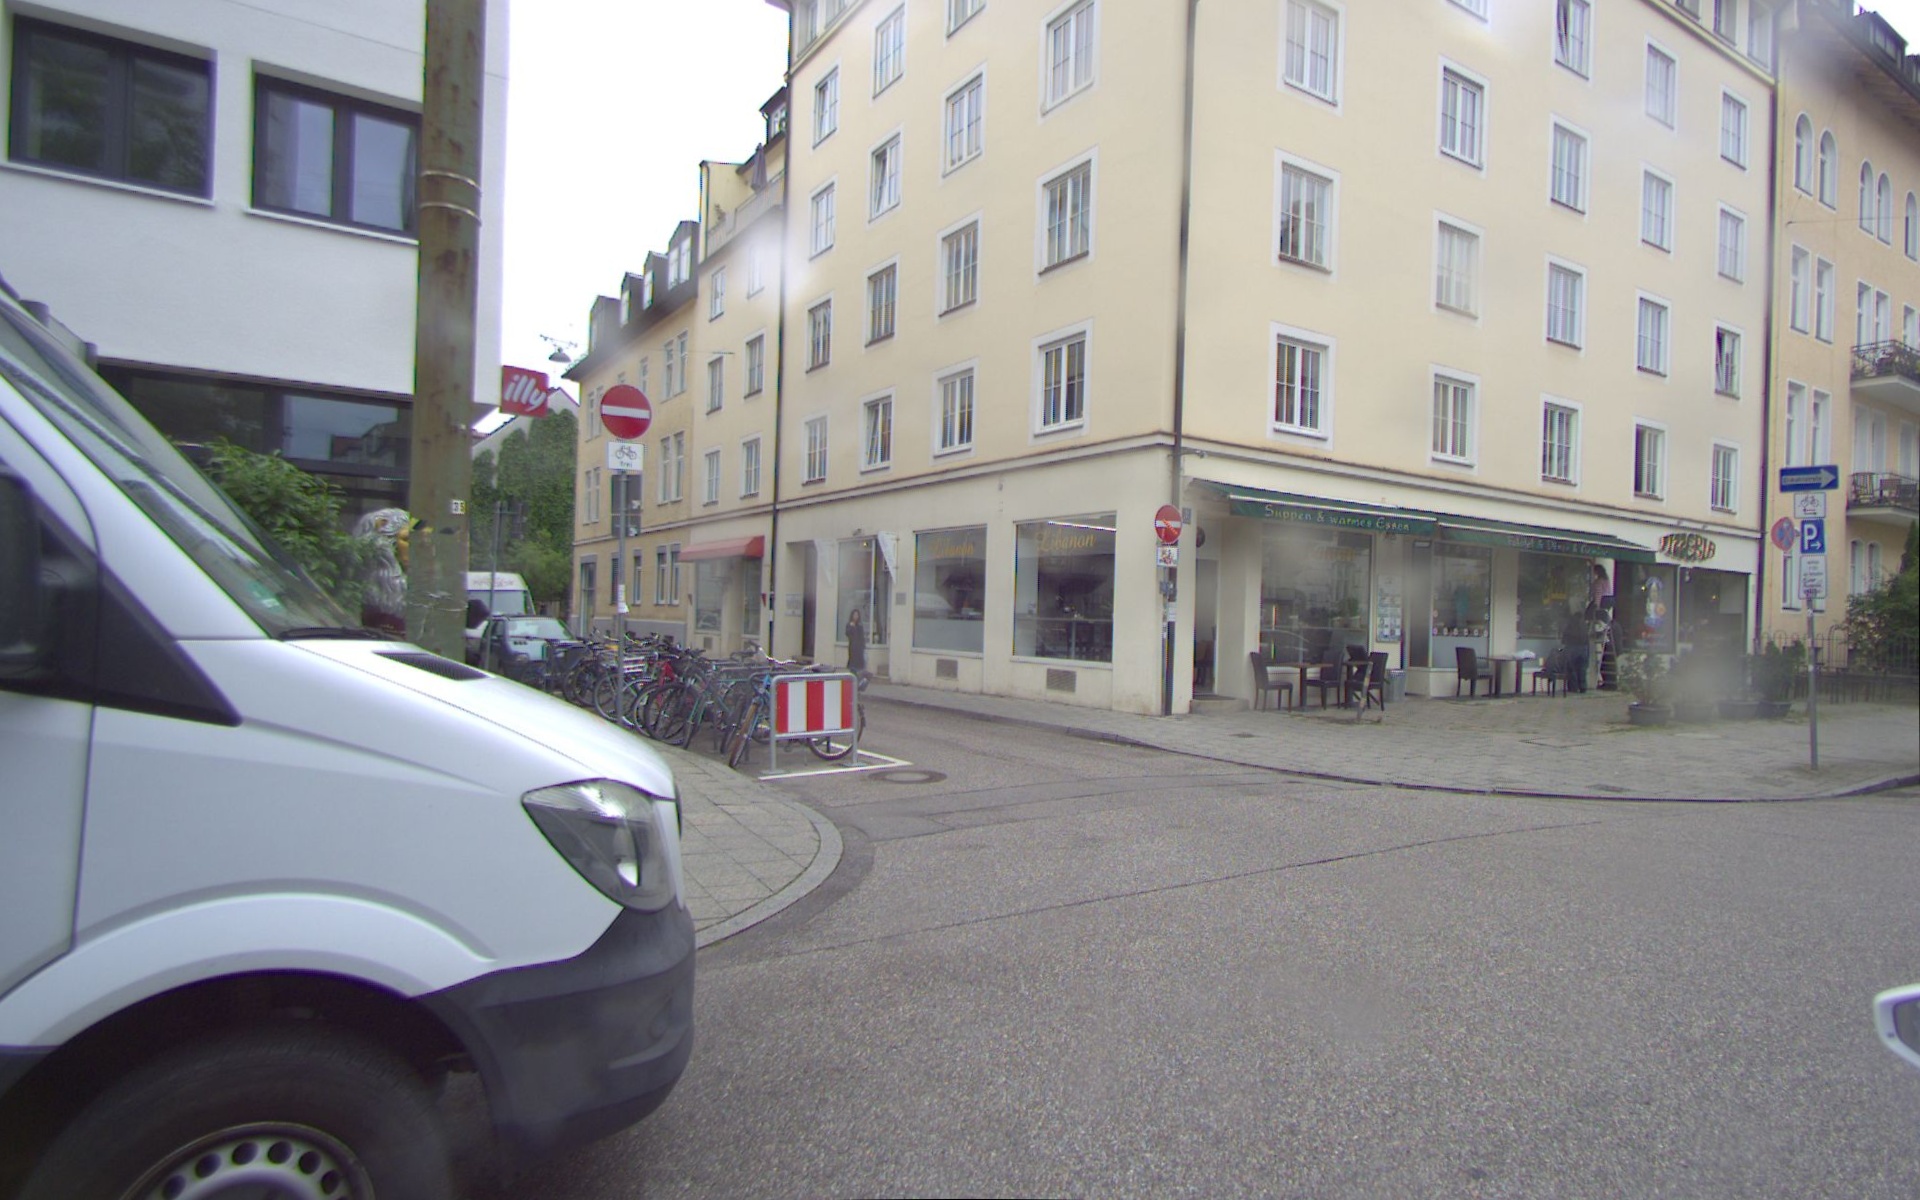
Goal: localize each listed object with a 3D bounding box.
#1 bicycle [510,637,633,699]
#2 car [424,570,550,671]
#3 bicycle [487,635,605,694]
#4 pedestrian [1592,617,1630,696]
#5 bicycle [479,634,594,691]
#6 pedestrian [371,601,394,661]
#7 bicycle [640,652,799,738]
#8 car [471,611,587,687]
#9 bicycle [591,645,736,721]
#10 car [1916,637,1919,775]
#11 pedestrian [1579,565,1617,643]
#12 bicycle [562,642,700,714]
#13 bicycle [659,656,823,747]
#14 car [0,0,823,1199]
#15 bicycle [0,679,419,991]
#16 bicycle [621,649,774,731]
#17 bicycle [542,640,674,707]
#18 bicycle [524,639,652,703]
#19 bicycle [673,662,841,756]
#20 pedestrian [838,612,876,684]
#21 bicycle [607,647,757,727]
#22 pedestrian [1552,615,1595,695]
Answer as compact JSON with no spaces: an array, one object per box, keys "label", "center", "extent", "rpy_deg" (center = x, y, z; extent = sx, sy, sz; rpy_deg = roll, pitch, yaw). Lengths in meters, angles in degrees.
[{"label":"bicycle","center":[-6.521,1.138,16.914],"extent":[1.877,0.981,0.394],"rpy_deg":[3,-1,-37]},{"label":"car","center":[-12.961,0.495,27.252],"extent":[1.946,2.419,6.419],"rpy_deg":[2,-1,-35]},{"label":"bicycle","center":[-7.350,1.139,17.871],"extent":[1.877,0.981,0.394],"rpy_deg":[3,-1,-37]},{"label":"pedestrian","center":[14.387,1.236,22.191],"extent":[0.568,1.712,0.459],"rpy_deg":[2,-1,-31]},{"label":"bicycle","center":[-7.739,1.138,18.409],"extent":[1.877,0.981,0.394],"rpy_deg":[3,-1,-37]},{"label":"pedestrian","center":[-17.118,0.905,29.775],"extent":[0.517,1.762,0.488],"rpy_deg":[2,-1,-35]},{"label":"bicycle","center":[-2.937,1.148,12.384],"extent":[1.877,0.981,0.394],"rpy_deg":[3,-1,-37]},{"label":"car","center":[-8.961,0.959,20.738],"extent":[1.475,1.426,3.655],"rpy_deg":[2,-2,-35]},{"label":"bicycle","center":[-4.049,1.128,13.831],"extent":[1.877,0.981,0.394],"rpy_deg":[3,-1,-37]},{"label":"car","center":[13.606,1.283,12.197],"extent":[4.696,1.607,1.841],"rpy_deg":[1,0,-33]},{"label":"pedestrian","center":[13.803,0.084,21.746],"extent":[0.491,1.664,0.476],"rpy_deg":[2,-1,-26]},{"label":"bicycle","center":[-4.805,1.131,14.750],"extent":[1.877,0.981,0.394],"rpy_deg":[3,-1,-37]},{"label":"bicycle","center":[-2.560,1.169,11.869],"extent":[1.877,0.981,0.394],"rpy_deg":[3,-1,-37]},{"label":"car","center":[-3.292,0.048,1.733],"extent":[5.726,2.607,1.968],"rpy_deg":[3,-3,-30]},{"label":"bicycle","center":[-3.247,0.906,4.098],"extent":[1.787,1.141,0.254],"rpy_deg":[3,-1,-32]},{"label":"bicycle","center":[-3.356,1.143,12.969],"extent":[1.877,0.981,0.394],"rpy_deg":[3,-1,-37]},{"label":"bicycle","center":[-5.420,1.126,15.543],"extent":[1.877,0.981,0.394],"rpy_deg":[3,-1,-37]},{"label":"bicycle","center":[-5.974,1.137,16.210],"extent":[1.877,0.981,0.394],"rpy_deg":[3,-1,-37]},{"label":"bicycle","center":[-2.297,1.217,11.510],"extent":[1.877,0.981,0.394],"rpy_deg":[3,-1,-37]},{"label":"pedestrian","center":[-2.331,1.076,22.631],"extent":[0.631,1.582,0.604],"rpy_deg":[2,-1,-27]},{"label":"bicycle","center":[-3.672,1.139,13.379],"extent":[1.877,0.981,0.394],"rpy_deg":[3,-1,-37]},{"label":"pedestrian","center":[13.073,1.173,21.407],"extent":[0.622,1.664,0.519],"rpy_deg":[2,-1,-31]}]
